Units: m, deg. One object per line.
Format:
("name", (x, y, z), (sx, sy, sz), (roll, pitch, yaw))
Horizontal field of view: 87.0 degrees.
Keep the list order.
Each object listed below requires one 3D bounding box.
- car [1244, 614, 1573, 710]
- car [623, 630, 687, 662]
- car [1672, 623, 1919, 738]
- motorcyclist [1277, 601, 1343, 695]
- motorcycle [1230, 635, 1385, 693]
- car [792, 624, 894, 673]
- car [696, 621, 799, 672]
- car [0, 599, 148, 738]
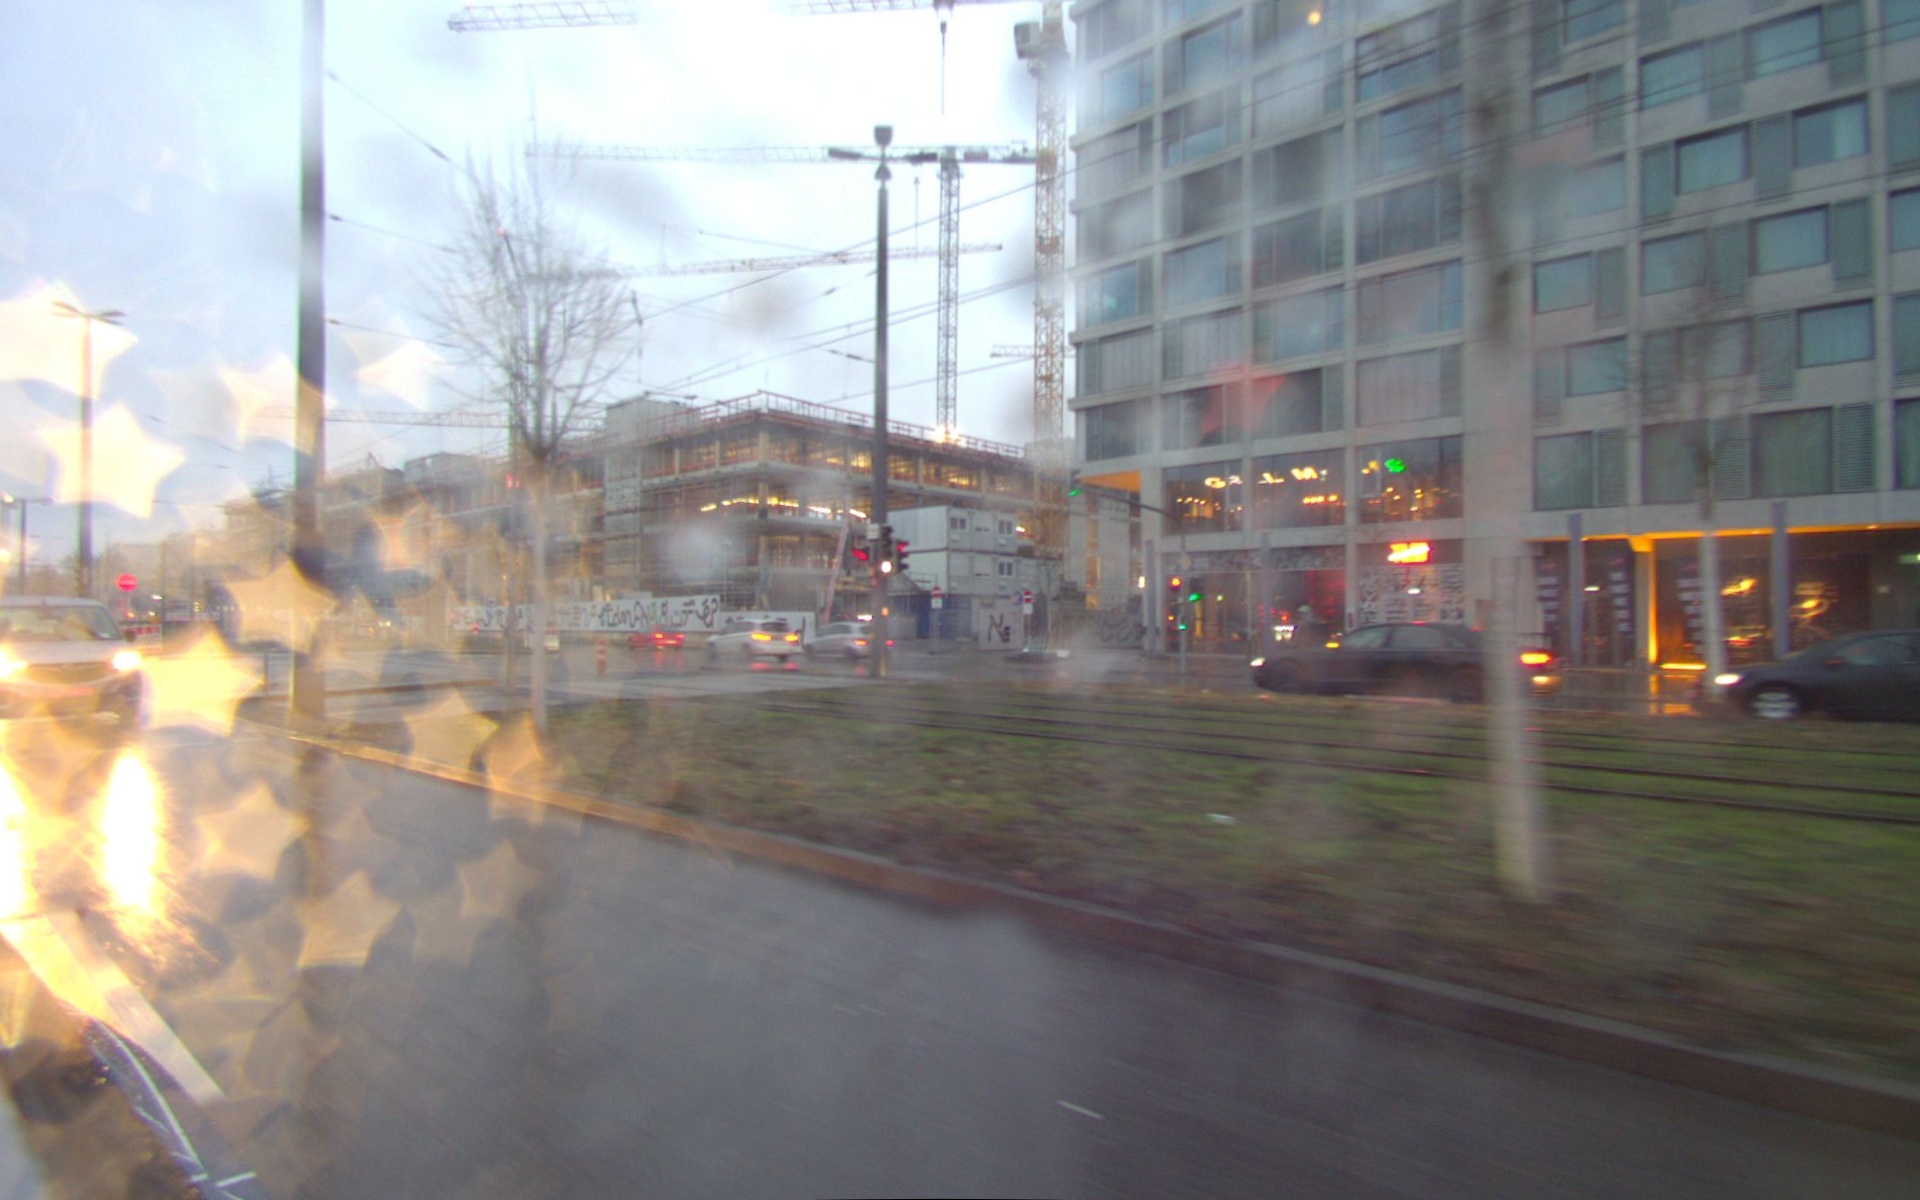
("car", (7.961, 1.017, 18.314), (5.092, 1.473, 1.973), (-1, 0, 41))
("car", (-16.341, 2.425, 54.078), (1.857, 1.586, 4.007), (0, 0, -40))
("car", (13.194, 1.074, 14.092), (5.069, 1.473, 1.982), (-1, 0, 27))
("motorcyclist", (7.276, 0.969, 21.057), (1.033, 1.900, 0.862), (-1, -1, 41))
("motorcycle", (7.200, 1.297, 21.121), (2.965, 1.064, 0.862), (-1, 0, 41))
("car", (-4.738, 1.888, 40.644), (4.176, 1.803, 1.861), (-1, 0, 43))
("car", (-8.383, 1.761, 39.633), (1.859, 1.803, 4.603), (0, 0, -43))
("car", (-13.306, 0.885, 14.509), (3.996, 1.746, 1.835), (-1, 0, 40))
